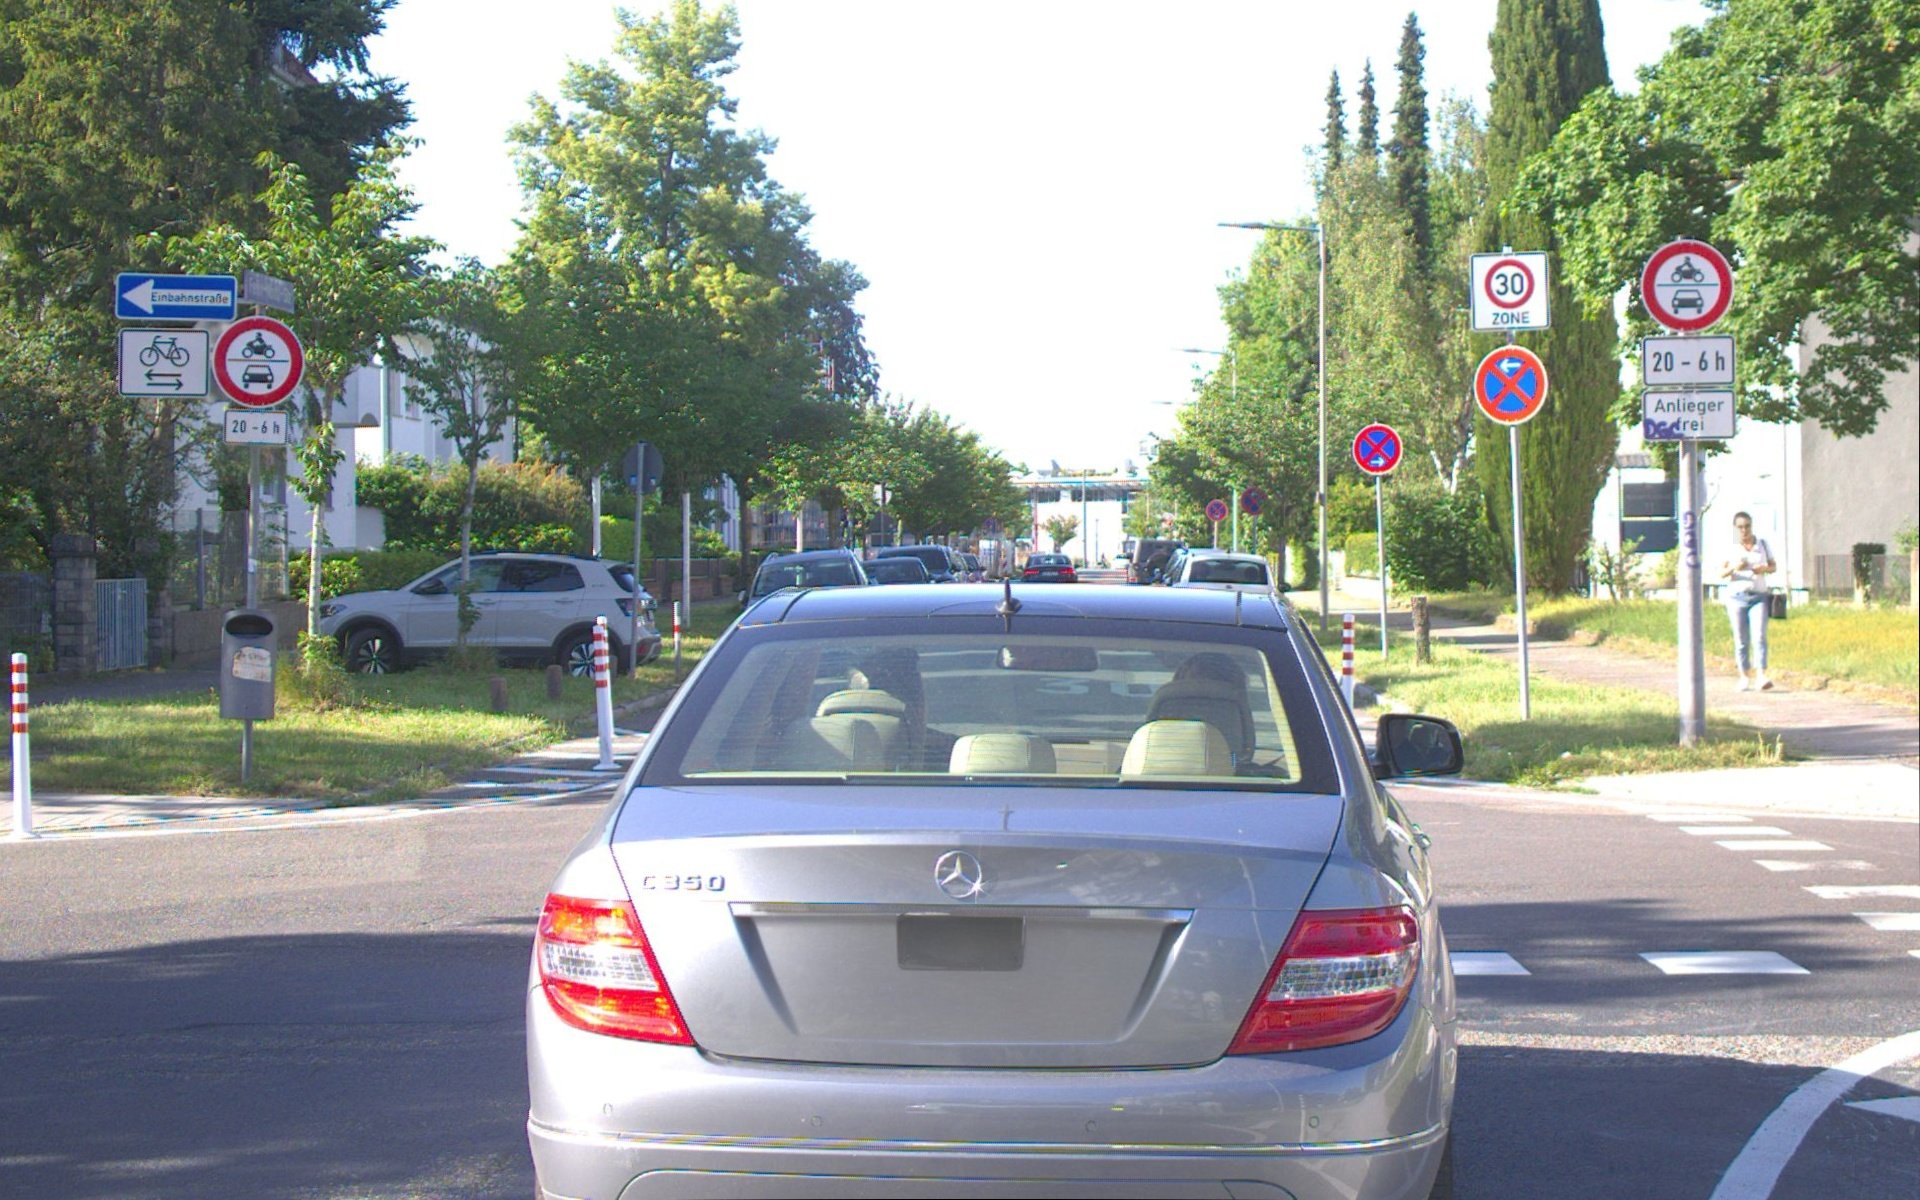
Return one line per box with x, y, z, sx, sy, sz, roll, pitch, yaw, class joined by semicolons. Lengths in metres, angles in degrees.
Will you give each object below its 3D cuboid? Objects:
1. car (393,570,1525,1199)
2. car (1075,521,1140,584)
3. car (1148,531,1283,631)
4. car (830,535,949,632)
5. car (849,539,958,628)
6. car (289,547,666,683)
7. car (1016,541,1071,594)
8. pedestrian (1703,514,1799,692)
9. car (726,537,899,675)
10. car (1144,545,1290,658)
0.103;0.668;7.569;1.836;1.436;4.000;0;1;3;car
4.397;-1.439;103.127;1.855;1.835;4.000;-1;1;2;car
4.301;-0.354;58.406;1.993;1.604;4.000;-1;1;0;car
-1.261;-0.329;63.293;1.993;1.604;4.000;-4;1;0;car
-1.100;-0.353;69.085;1.993;1.604;4.000;-4;1;0;car
-5.629;0.163;40.499;4.192;1.558;1.842;0;1;-1;car
2.578;-1.024;106.764;1.597;1.604;3.644;-1;1;0;car
7.285;0.020;31.684;0.766;1.605;0.834;-1;1;7;pedestrian
-1.900;0.037;45.498;1.993;1.604;4.000;-4;1;0;car
3.516;-0.008;47.580;1.733;1.474;3.725;-1;1;0;car
